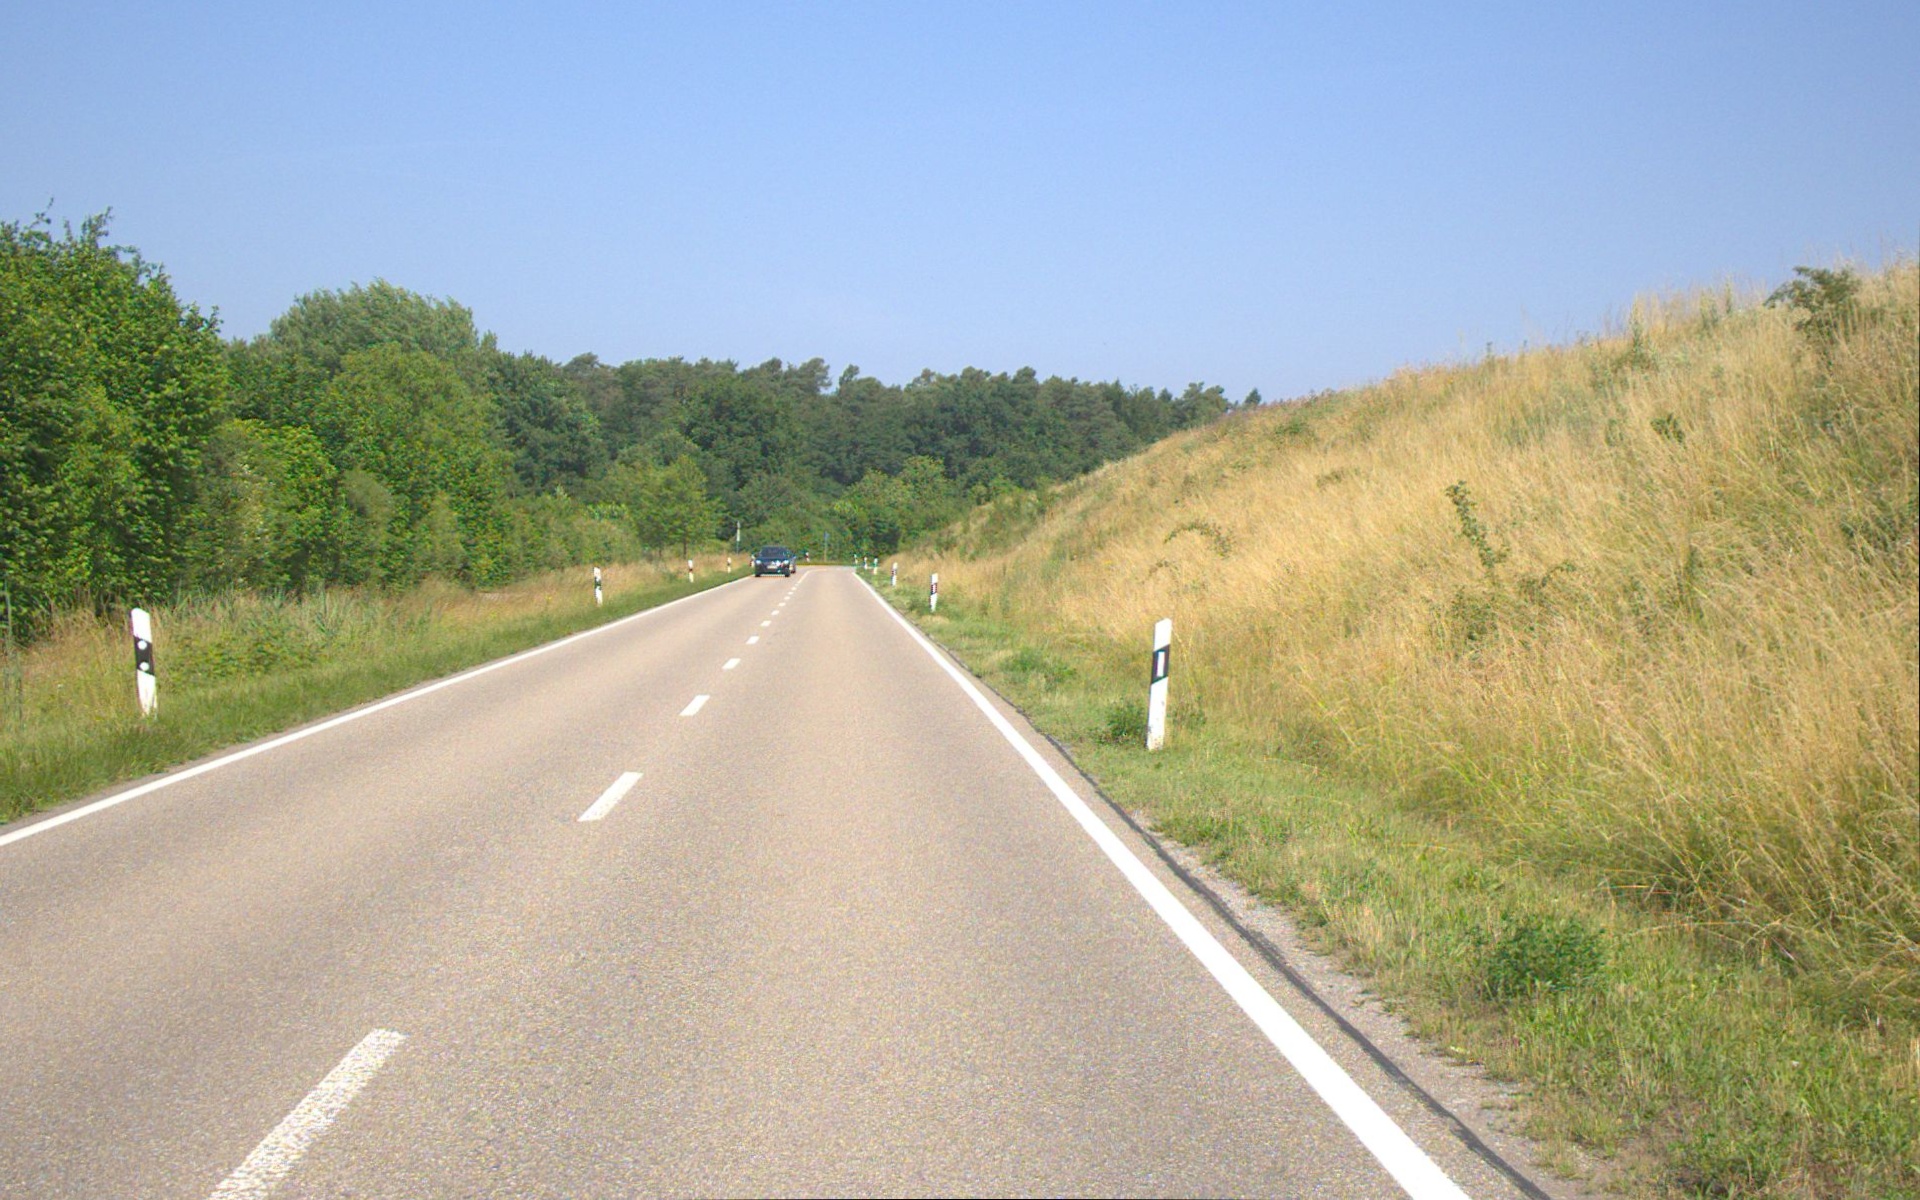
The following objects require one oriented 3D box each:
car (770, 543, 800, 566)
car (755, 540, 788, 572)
[{"bbox_3d":[-10.539,-2.752,207.481,1.722,1.349,4.000,1,0,-2],"label":"car"},{"bbox_3d":[-9.902,-2.338,180.682,1.716,1.641,3.915,1,1,-3],"label":"car"}]
